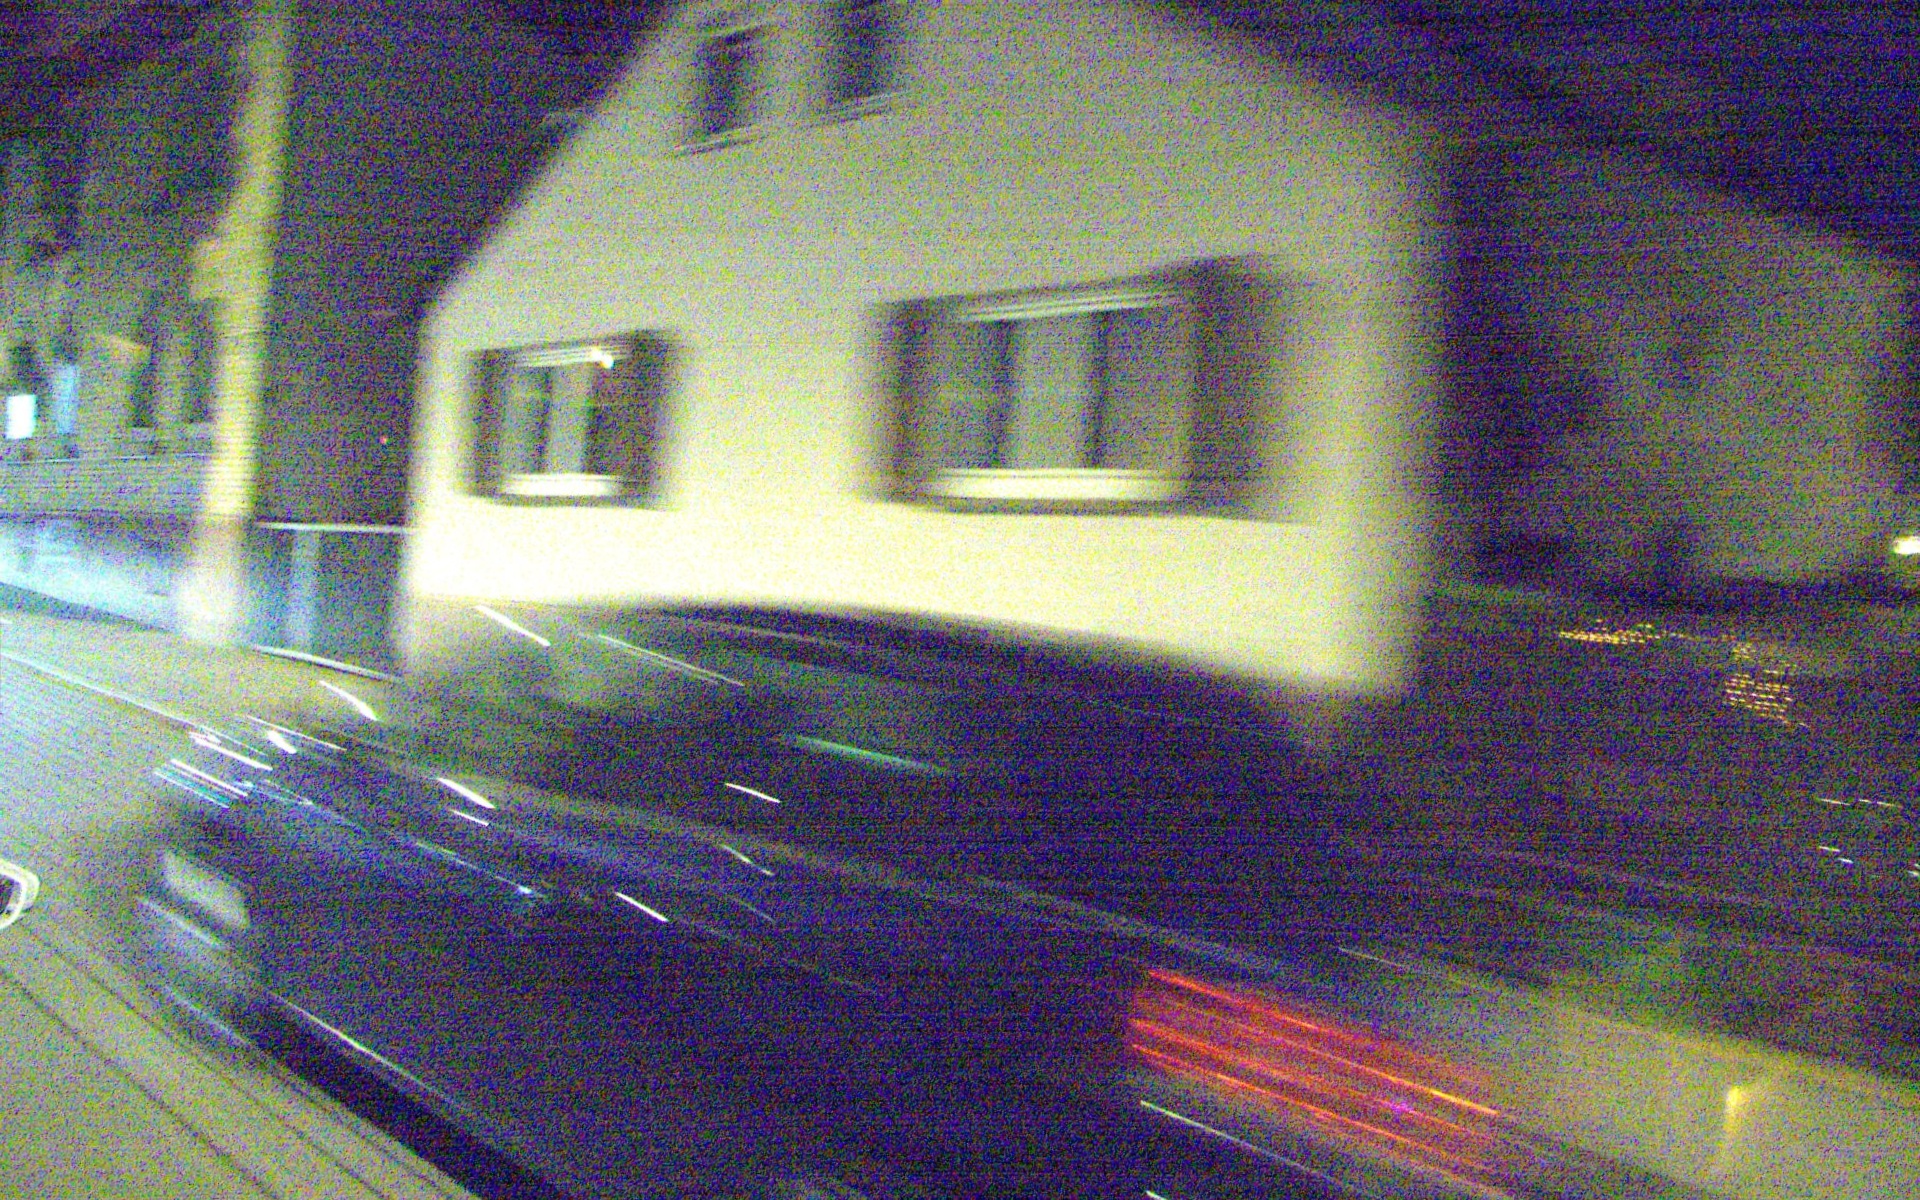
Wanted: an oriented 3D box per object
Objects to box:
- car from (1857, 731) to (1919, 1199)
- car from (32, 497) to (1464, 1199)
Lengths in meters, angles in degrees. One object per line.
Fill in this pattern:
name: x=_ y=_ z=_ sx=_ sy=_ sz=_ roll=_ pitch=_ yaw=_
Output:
car: x=3.498 y=1.175 z=0.239 sx=4.567 sy=1.436 sz=1.845 roll=6 pitch=3 yaw=31
car: x=-0.827 y=0.640 z=3.017 sx=3.952 sy=1.466 sz=1.773 roll=7 pitch=1 yaw=31
